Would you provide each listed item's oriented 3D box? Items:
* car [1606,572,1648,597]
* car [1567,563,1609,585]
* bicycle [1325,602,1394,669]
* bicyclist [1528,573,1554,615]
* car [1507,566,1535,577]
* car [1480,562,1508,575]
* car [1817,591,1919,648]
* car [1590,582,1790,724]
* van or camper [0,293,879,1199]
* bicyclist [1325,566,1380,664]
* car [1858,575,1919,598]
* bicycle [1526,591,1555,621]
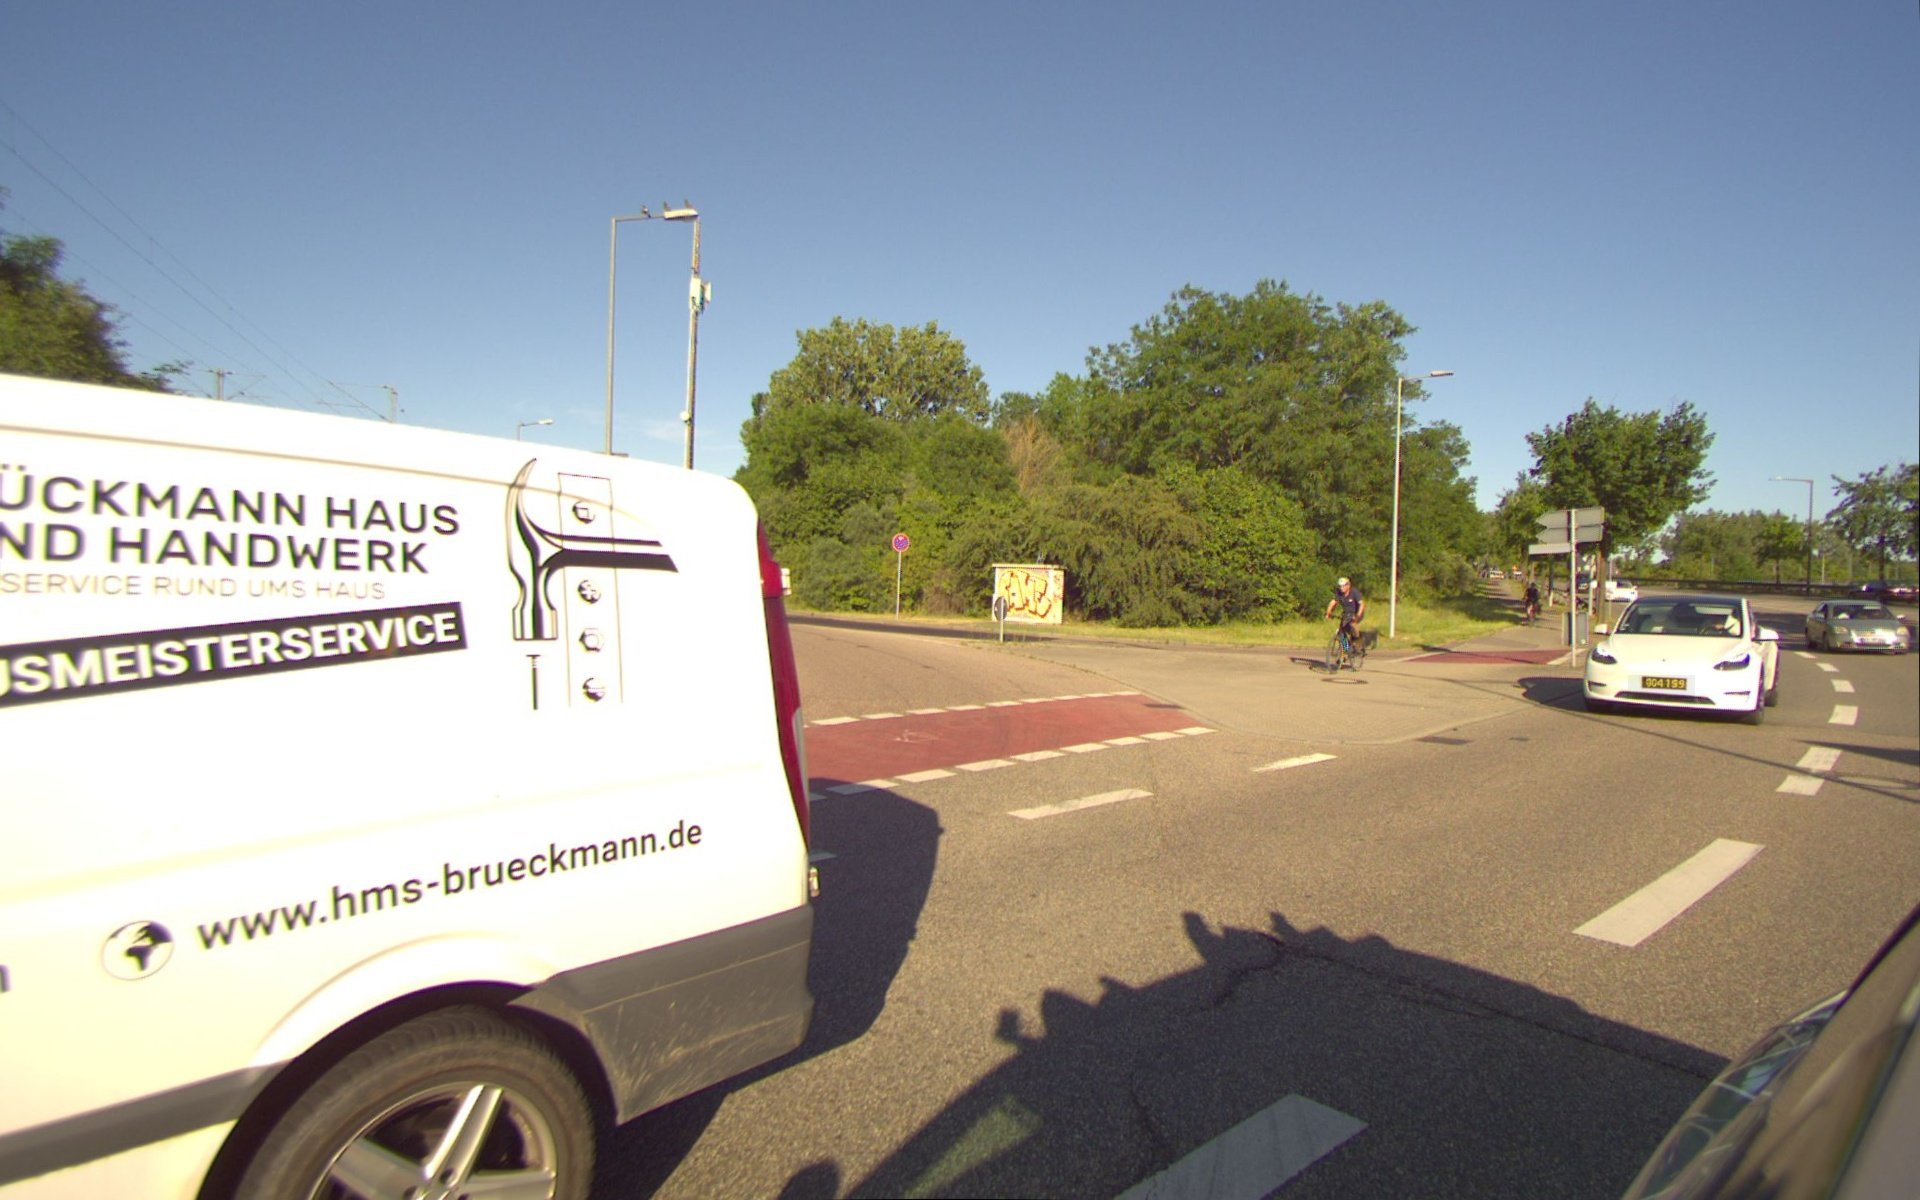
[{"bbox_3d":[44.850,-1.051,68.086,2.134,1.587,4.153,1,2,31],"label":"car"},{"bbox_3d":[51.534,-2.126,83.157,1.974,1.738,4.246,1,1,19],"label":"car"},{"bbox_3d":[7.663,0.648,19.345,0.693,1.108,2.091,4,3,35],"label":"bicycle"},{"bbox_3d":[23.025,-0.245,40.093,0.702,1.597,0.997,3,3,24],"label":"bicyclist"},{"bbox_3d":[72.112,-3.682,130.182,1.707,1.402,4.485,0,2,10],"label":"car"},{"bbox_3d":[67.651,-3.990,128.307,1.738,1.507,4.270,0,2,7],"label":"car"},{"bbox_3d":[25.718,0.502,28.640,1.671,1.459,3.815,0,1,32],"label":"car"},{"bbox_3d":[10.449,0.593,14.351,1.912,1.661,4.345,1,2,41],"label":"car"},{"bbox_3d":[-2.696,0.418,1.729,4.793,1.907,1.963,3,1,-41],"label":"van or camper"},{"bbox_3d":[7.485,0.260,19.283,0.673,1.798,0.936,4,3,36],"label":"bicyclist"},{"bbox_3d":[56.668,-0.859,61.152,1.780,1.326,4.592,0,2,16],"label":"car"},{"bbox_3d":[22.998,0.223,40.098,0.695,1.087,1.907,3,3,23],"label":"bicycle"}]
